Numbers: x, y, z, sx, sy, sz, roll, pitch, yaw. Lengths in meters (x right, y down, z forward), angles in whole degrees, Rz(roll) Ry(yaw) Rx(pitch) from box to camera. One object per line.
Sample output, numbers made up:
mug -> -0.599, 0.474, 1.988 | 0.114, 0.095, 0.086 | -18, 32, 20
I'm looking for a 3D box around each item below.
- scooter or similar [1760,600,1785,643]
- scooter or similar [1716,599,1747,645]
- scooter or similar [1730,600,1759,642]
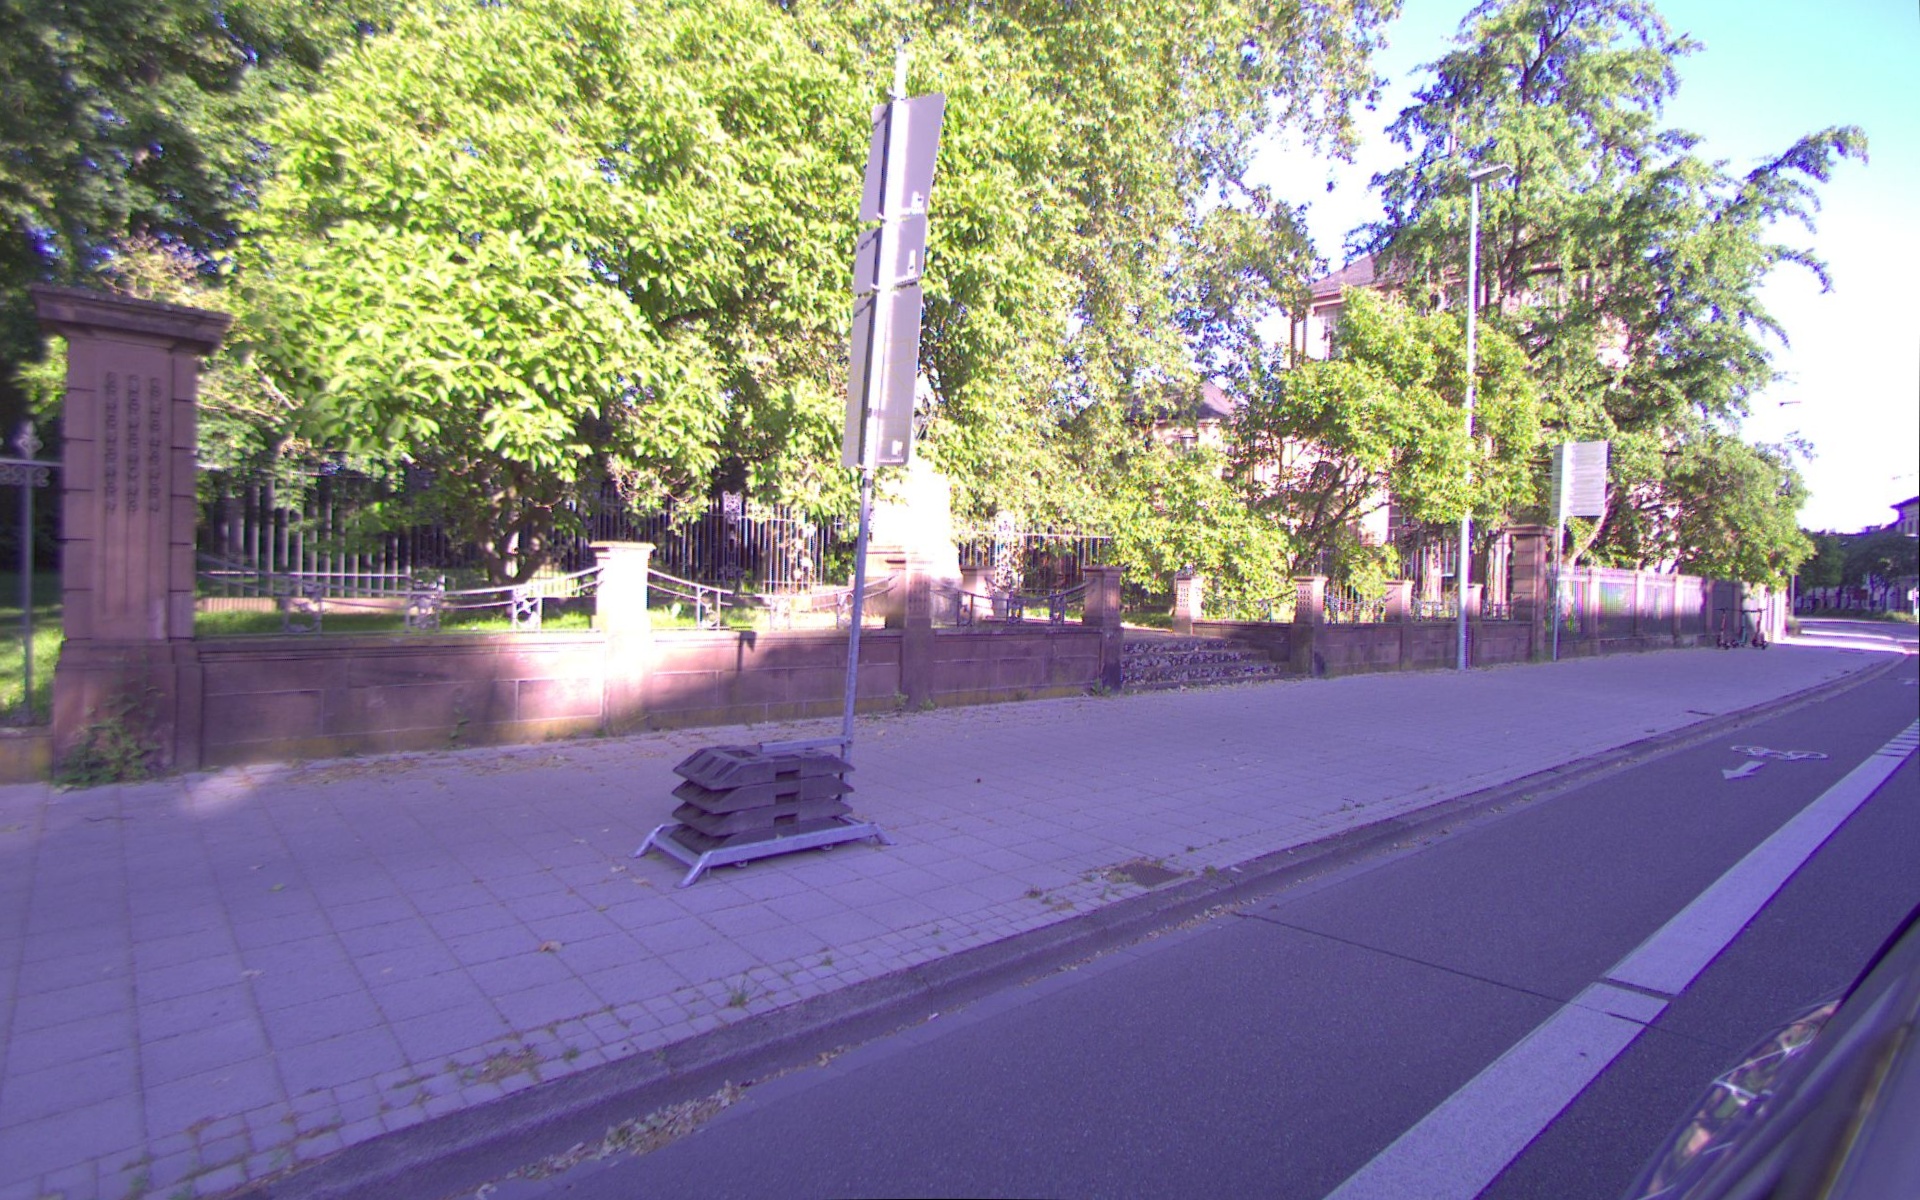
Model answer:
scooter or similar -> 24.712, 0.637, 30.791 | 0.514, 1.255, 1.502 | 3, 2, 37
scooter or similar -> 22.265, 0.609, 29.217 | 0.572, 1.269, 1.470 | 2, 2, 33
scooter or similar -> 23.613, 0.626, 30.441 | 0.574, 1.199, 1.465 | 3, 2, 41
